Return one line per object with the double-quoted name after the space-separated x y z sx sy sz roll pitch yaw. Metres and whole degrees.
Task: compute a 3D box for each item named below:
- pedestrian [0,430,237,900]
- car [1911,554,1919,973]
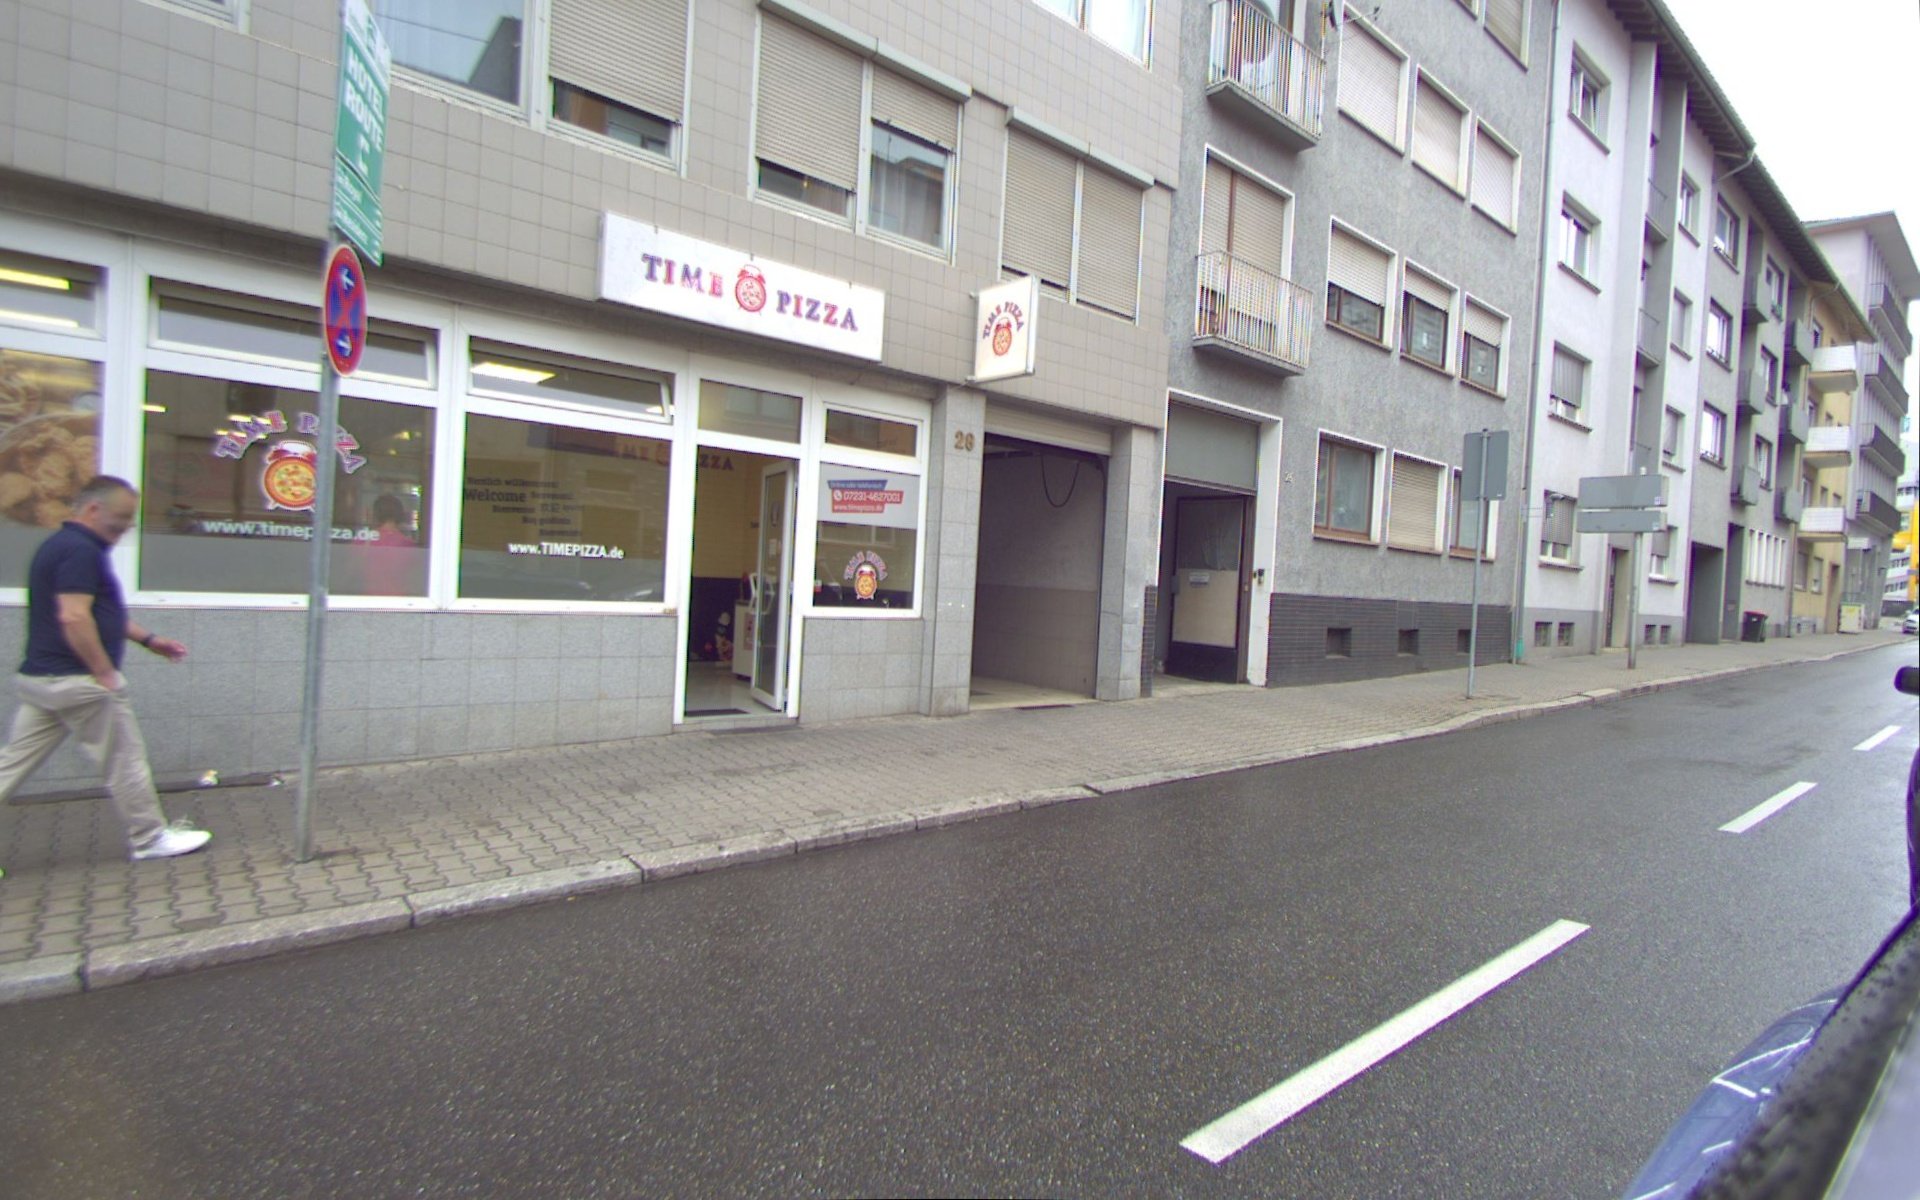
-3.926 0.221 4.485 1.100 1.887 0.871 0 6 -41 "pedestrian"
6.079 0.660 4.929 4.144 1.743 1.697 -1 0 -41 "car"
